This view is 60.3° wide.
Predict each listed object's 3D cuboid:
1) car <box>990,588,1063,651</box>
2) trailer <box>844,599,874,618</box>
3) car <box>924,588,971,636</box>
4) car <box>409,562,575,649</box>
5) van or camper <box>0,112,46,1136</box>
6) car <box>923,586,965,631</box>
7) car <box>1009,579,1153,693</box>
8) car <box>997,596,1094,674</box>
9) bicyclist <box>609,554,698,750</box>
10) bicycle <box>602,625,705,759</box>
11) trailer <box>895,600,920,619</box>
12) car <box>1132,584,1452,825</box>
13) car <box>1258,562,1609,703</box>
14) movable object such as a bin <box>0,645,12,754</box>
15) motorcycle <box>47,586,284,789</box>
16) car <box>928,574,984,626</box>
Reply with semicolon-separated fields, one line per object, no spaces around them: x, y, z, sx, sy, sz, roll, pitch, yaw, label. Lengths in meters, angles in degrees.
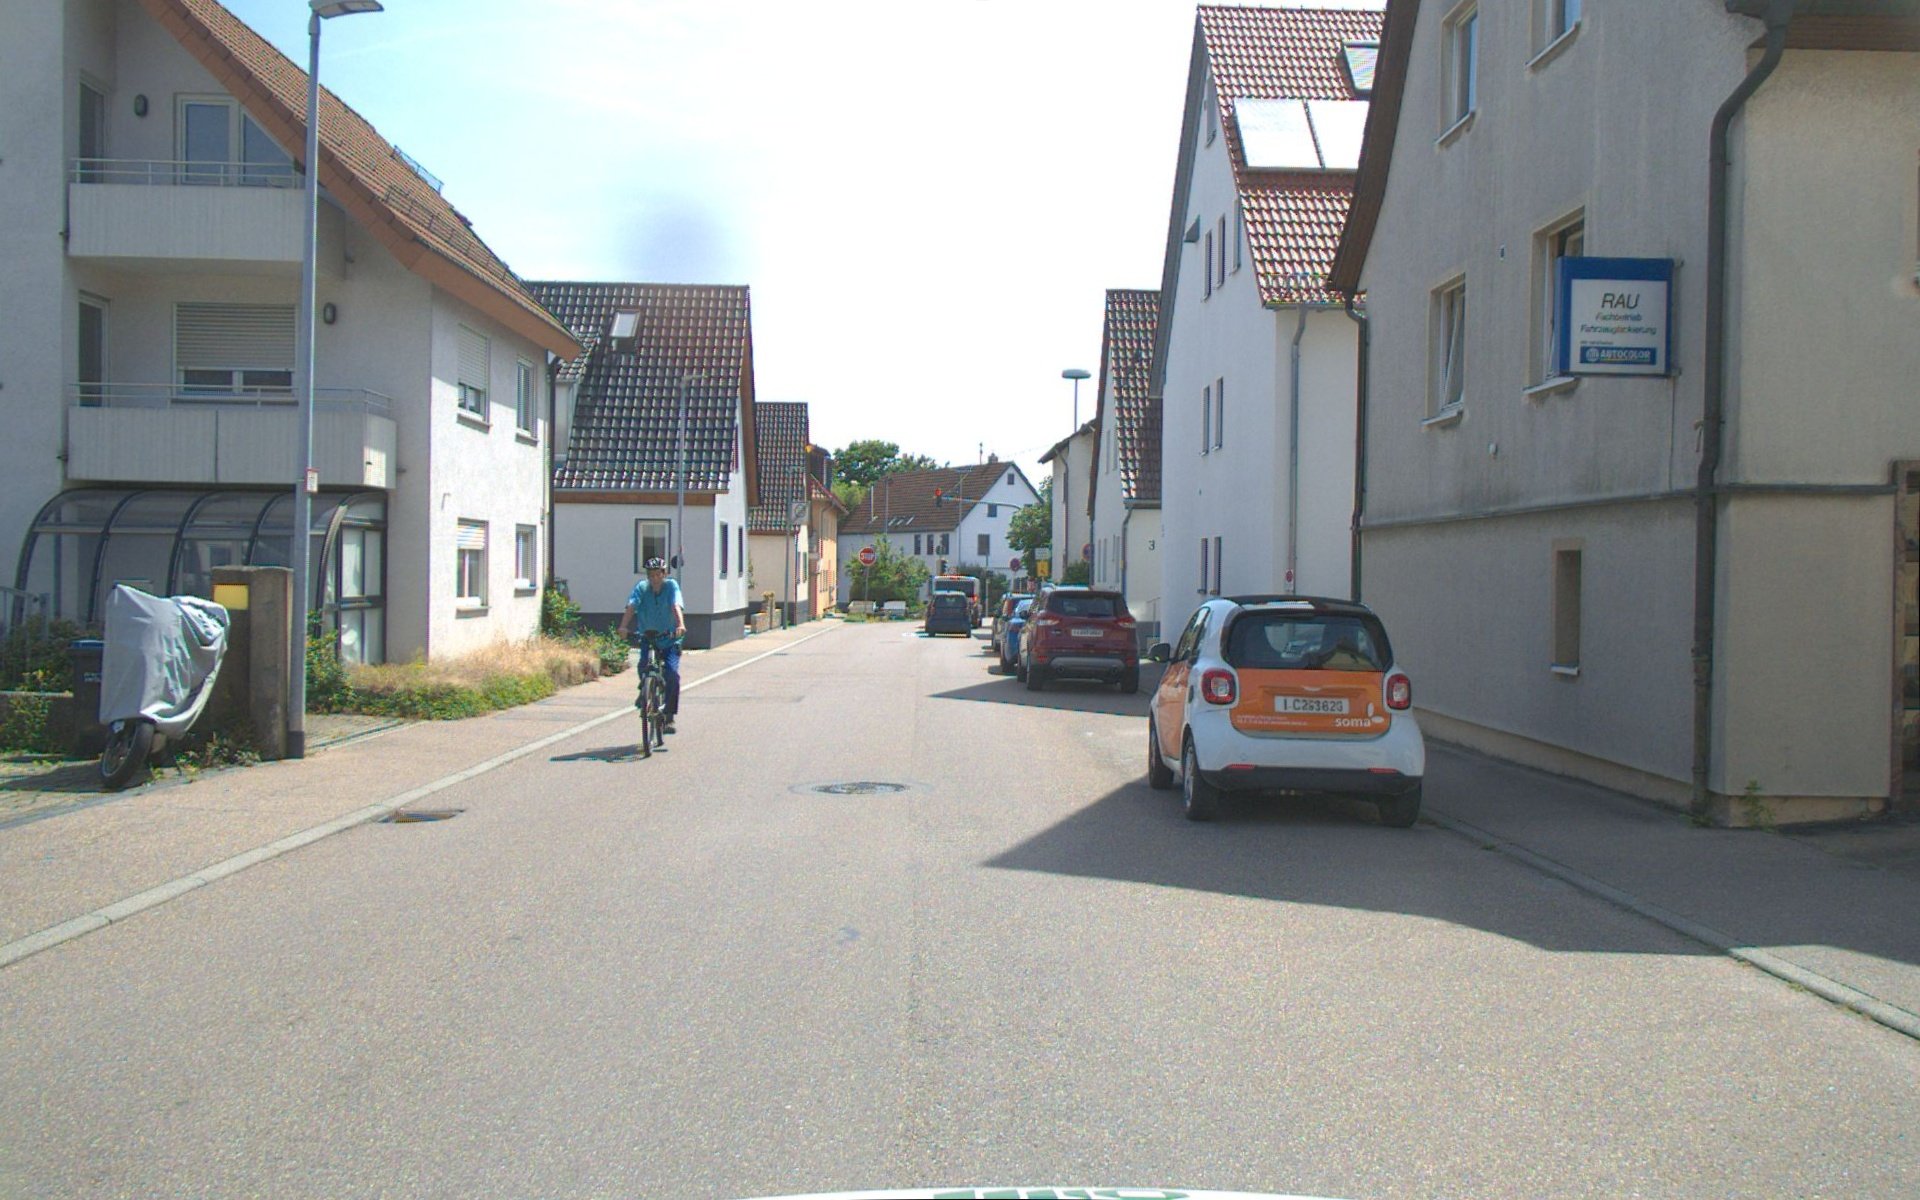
1.714;0.497;43.675;1.536;1.572;3.447;1;0;-4;car
-5.405;0.451;88.410;1.471;0.943;1.012;3;0;0;trailer
-0.425;0.407;58.670;1.484;1.594;3.185;2;0;2;car
-10.109;0.115;35.888;3.049;1.604;1.713;4;0;-3;car
-3.419;0.073;0.937;2.140;2.616;6.805;2;0;-2;van or camper
-0.593;0.307;63.322;1.484;1.653;3.185;0;0;2;car
1.941;0.546;27.792;1.838;1.730;4.180;1;0;-4;car
1.683;0.658;33.857;1.727;1.448;4.591;1;0;0;car
-2.951;0.486;15.987;0.699;1.830;0.941;1;0;-3;bicyclist
-2.936;0.850;16.038;0.657;1.152;2.188;1;0;-3;bicycle
-2.785;0.497;88.431;1.284;0.987;0.933;2;0;0;trailer
2.379;0.693;12.560;1.640;1.586;3.038;1;0;-4;car
6.724;0.448;23.788;4.427;1.875;1.998;1;0;-4;car
-8.499;0.843;13.760;0.784;0.921;0.773;0;0;-3;movable object such as a bin
-6.056;0.609;12.789;0.768;1.417;2.352;0;0;-2;motorcycle
-0.154;-0.030;72.917;2.084;2.196;4.739;0;0;4;car
